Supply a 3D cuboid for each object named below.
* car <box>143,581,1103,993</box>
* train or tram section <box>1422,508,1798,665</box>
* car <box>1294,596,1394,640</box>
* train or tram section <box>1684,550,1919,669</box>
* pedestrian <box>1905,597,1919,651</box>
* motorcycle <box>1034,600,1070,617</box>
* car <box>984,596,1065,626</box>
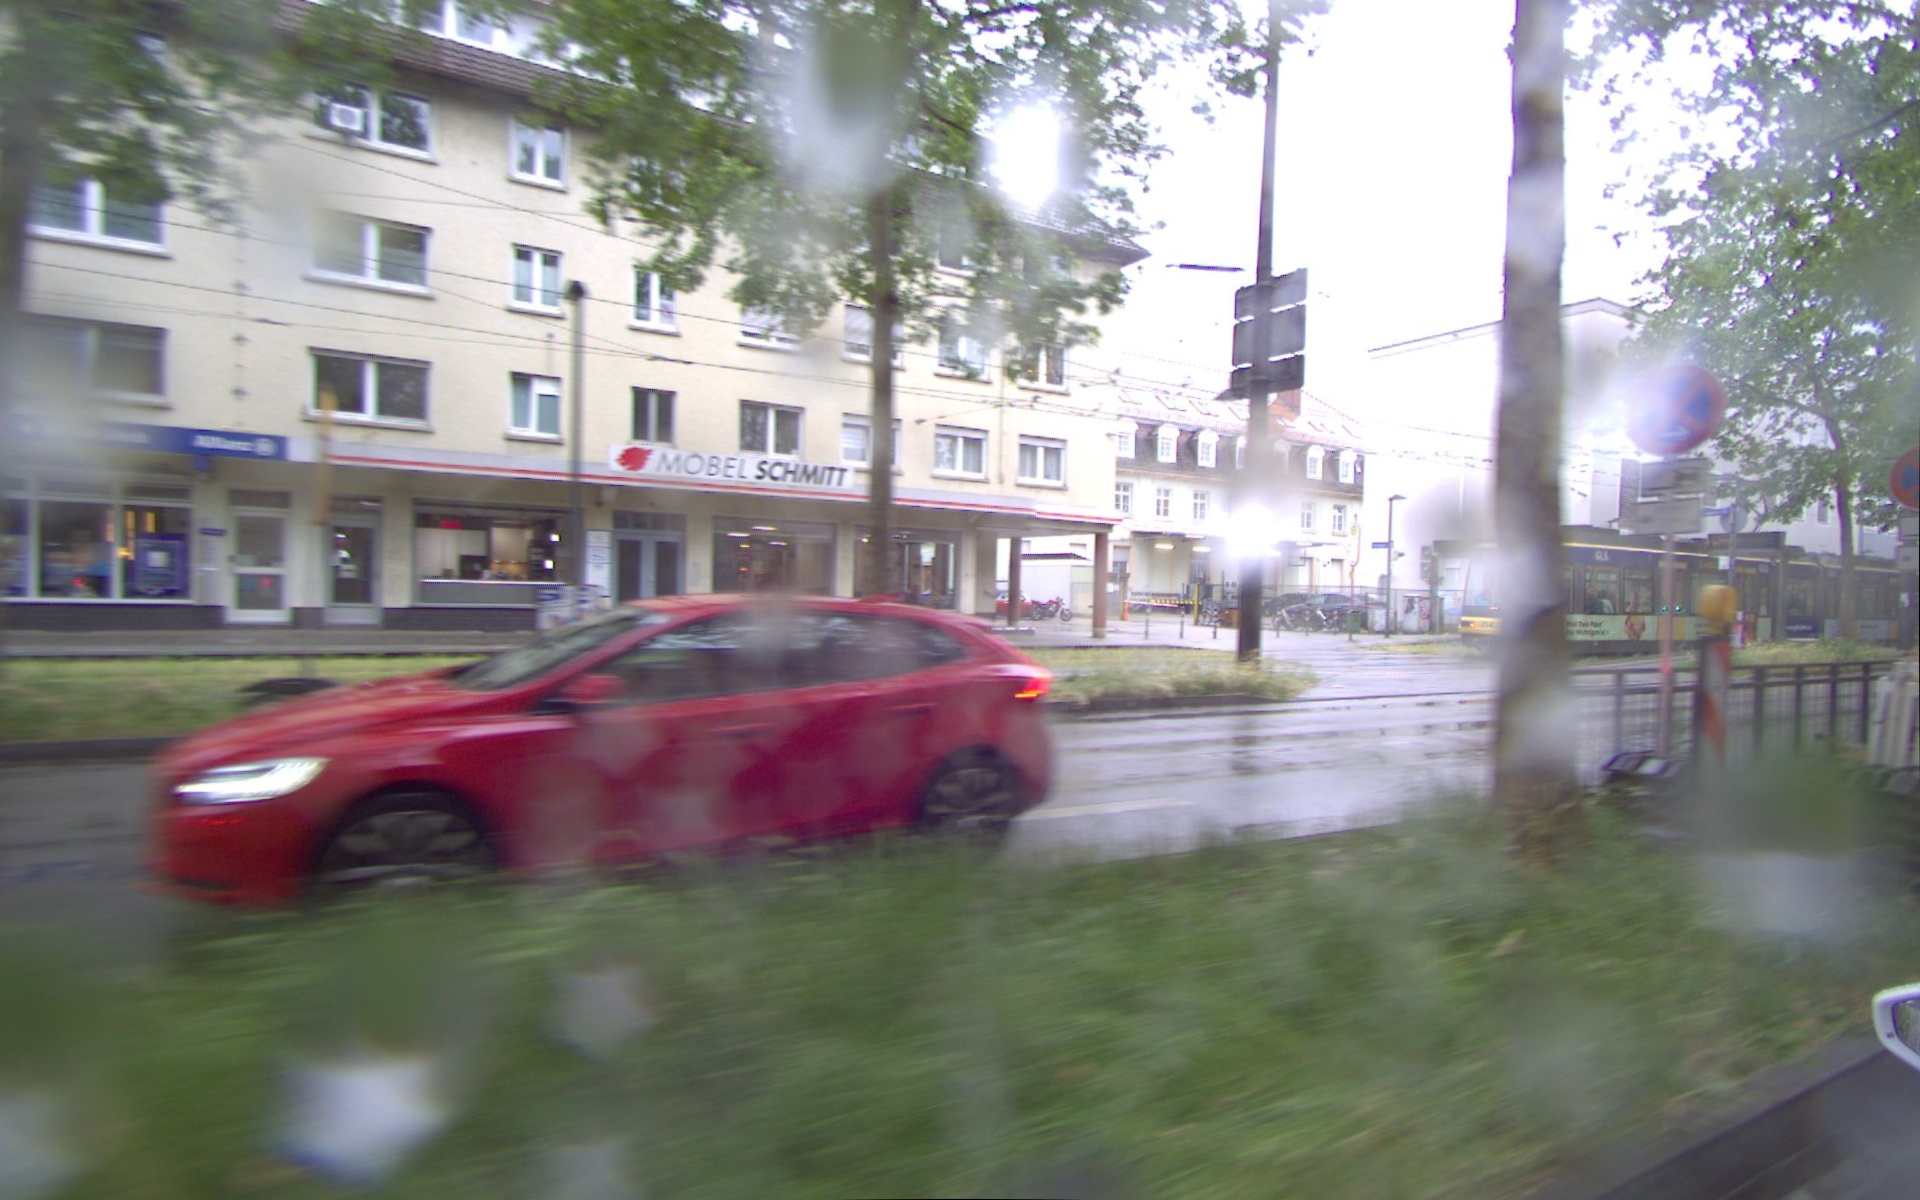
[{"bbox_3d":[-1.448,0.676,5.303,4.183,1.416,1.733,1,1,-30],"label":"car"},{"bbox_3d":[19.251,-0.093,29.060,14.413,3.605,3.090,3,0,-31],"label":"train or tram section"},{"bbox_3d":[15.459,0.696,40.628,1.589,1.562,3.664,1,1,-25],"label":"car"},{"bbox_3d":[31.579,0.544,36.489,14.509,3.605,3.090,3,0,-31],"label":"train or tram section"},{"bbox_3d":[30.886,0.770,32.045,0.862,1.726,0.813,1,1,-31],"label":"pedestrian"},{"bbox_3d":[4.343,0.404,47.418,1.642,0.719,0.521,2,0,-2],"label":"motorcycle"},{"bbox_3d":[3.134,0.546,49.076,3.778,1.242,1.345,2,2,-2],"label":"car"}]
